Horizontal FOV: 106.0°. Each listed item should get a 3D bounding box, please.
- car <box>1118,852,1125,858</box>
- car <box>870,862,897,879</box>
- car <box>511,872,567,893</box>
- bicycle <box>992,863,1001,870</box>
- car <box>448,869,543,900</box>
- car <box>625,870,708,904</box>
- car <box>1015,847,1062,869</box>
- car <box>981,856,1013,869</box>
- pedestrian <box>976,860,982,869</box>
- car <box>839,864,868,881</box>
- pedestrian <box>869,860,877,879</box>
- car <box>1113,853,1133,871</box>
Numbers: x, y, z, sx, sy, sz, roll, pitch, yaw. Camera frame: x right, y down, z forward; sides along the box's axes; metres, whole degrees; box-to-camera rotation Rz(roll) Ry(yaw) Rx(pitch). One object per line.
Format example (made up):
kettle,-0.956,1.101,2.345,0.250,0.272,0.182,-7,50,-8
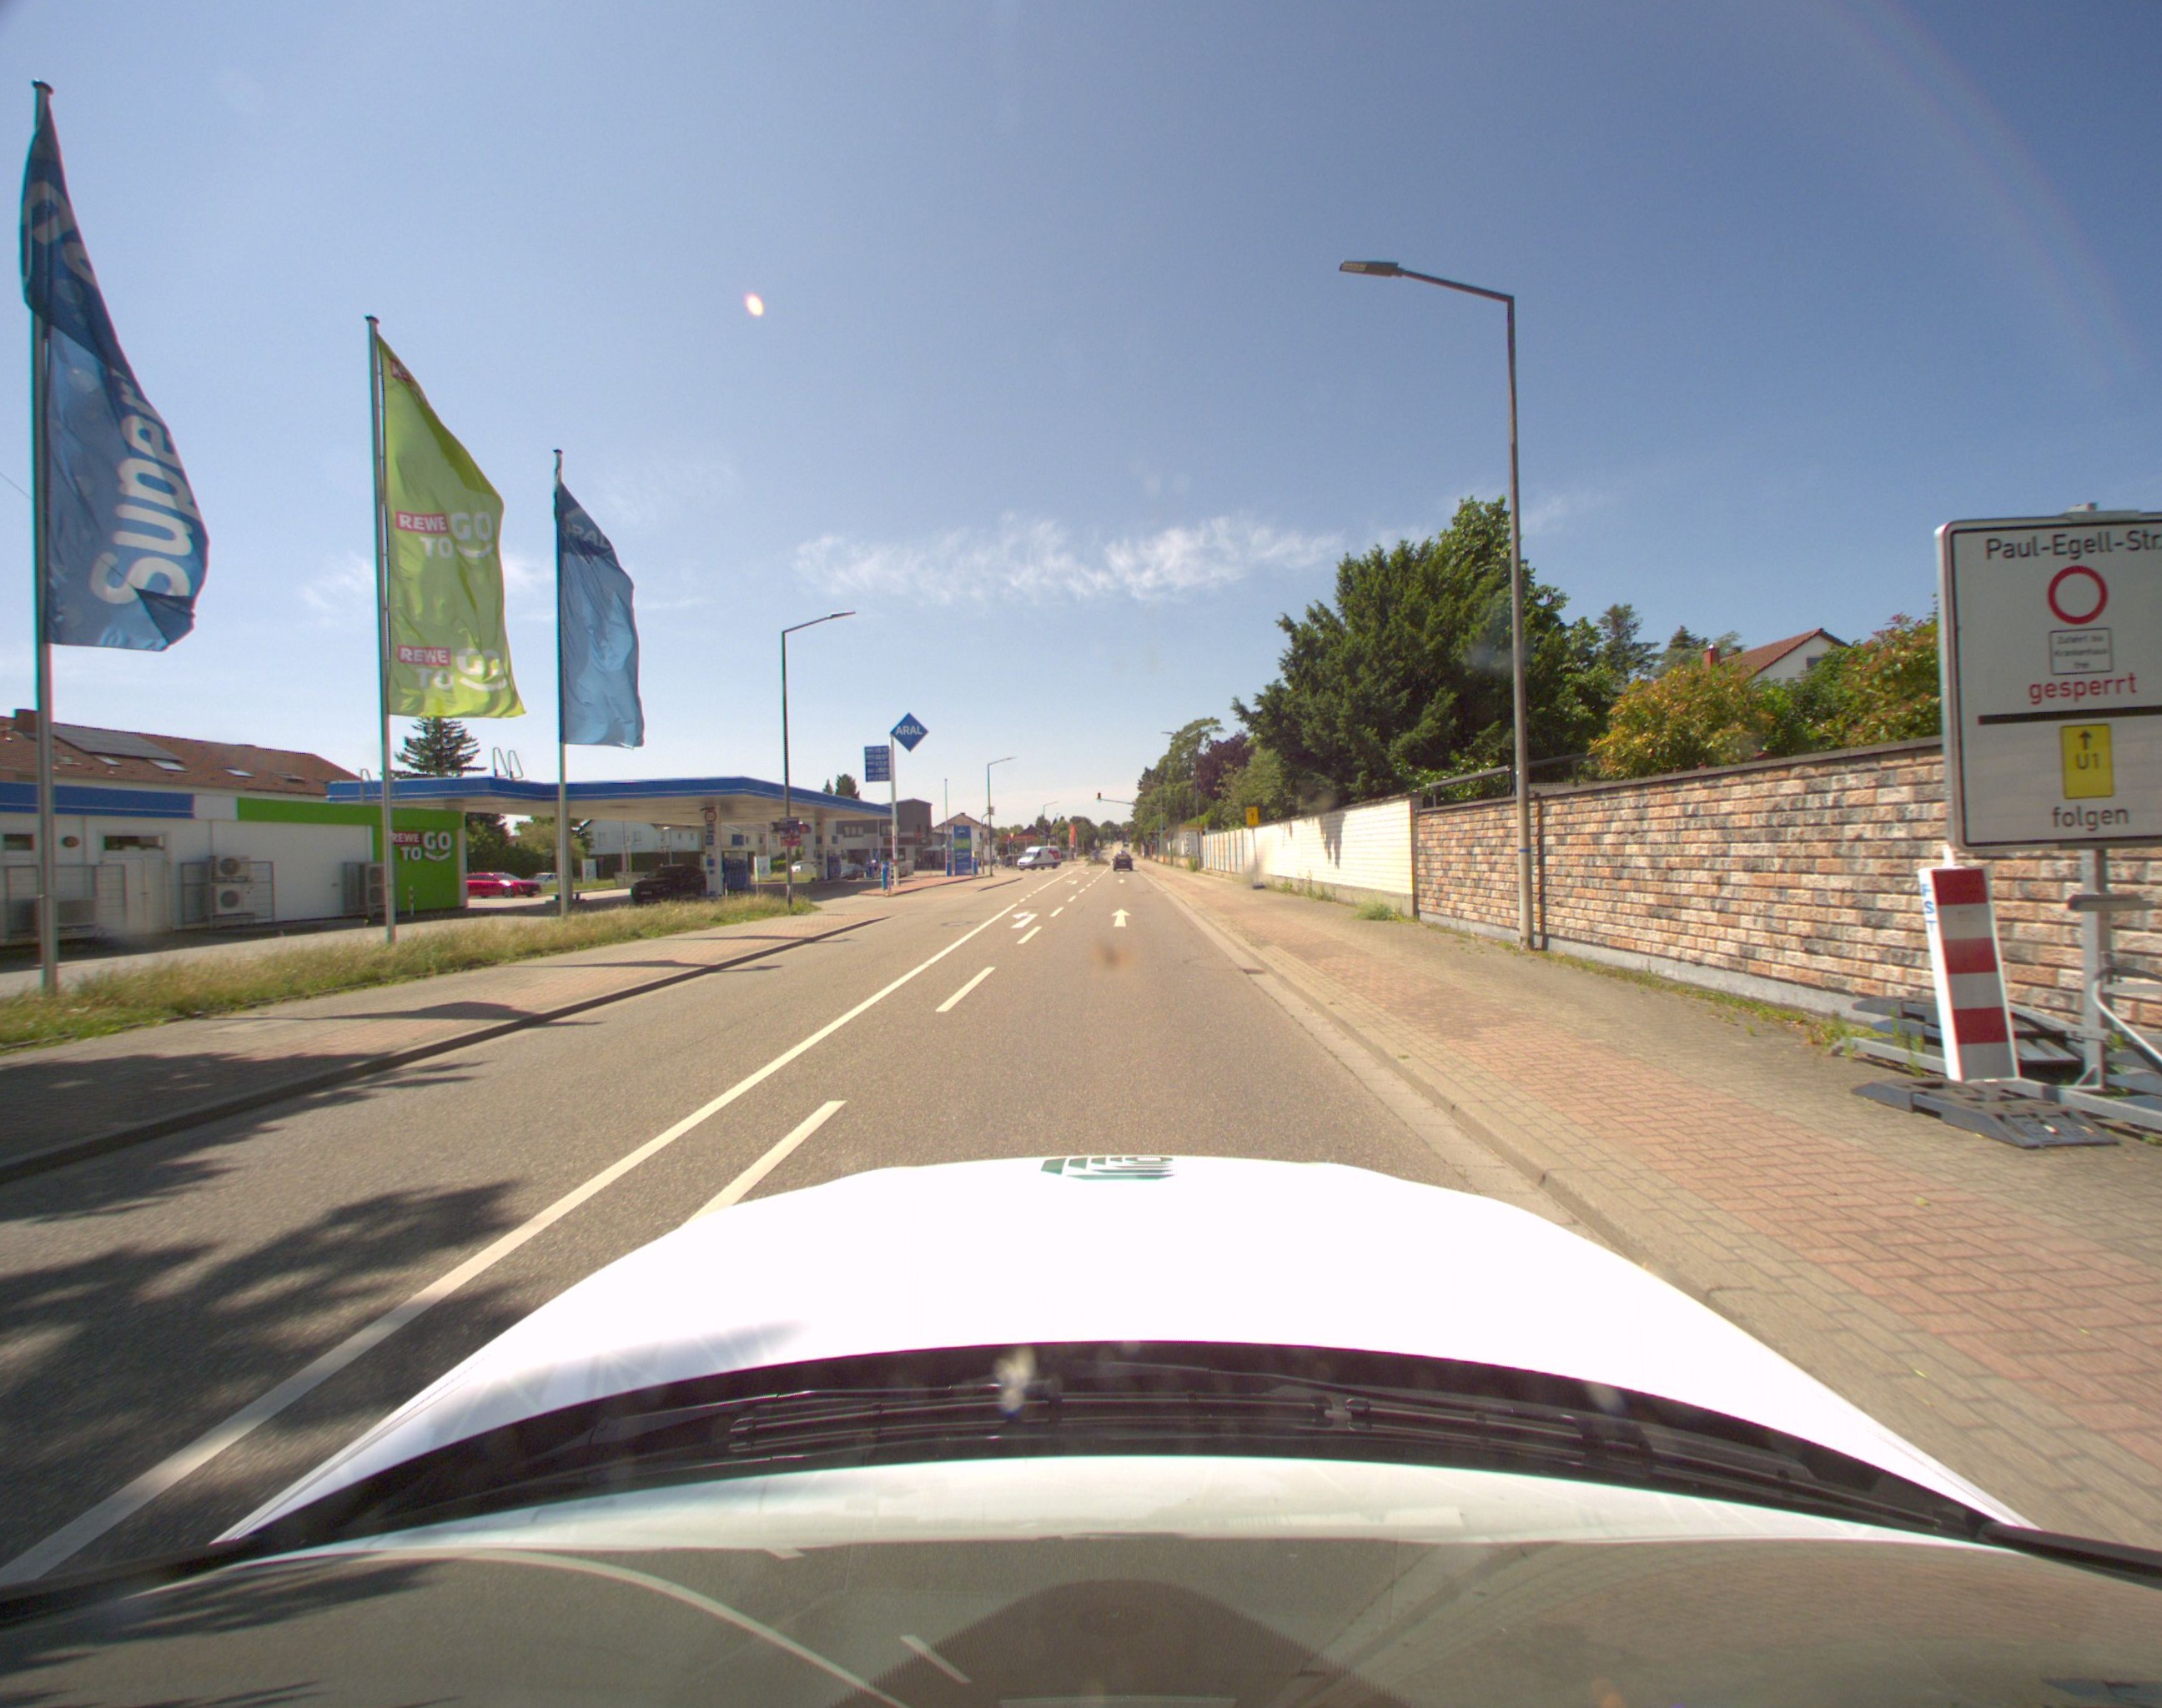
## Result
car,9.958,0.290,199.577,1.659,1.455,3.474,-2,0,2
car,-18.053,1.513,74.687,1.613,1.420,3.709,-3,0,-2
car,-44.409,2.296,66.794,1.662,1.480,4.006,-2,0,5
bicycle,-9.938,1.439,95.962,0.610,0.793,2.576,-2,0,3
car,-32.969,1.713,45.908,3.981,1.536,1.672,-2,0,-6
car,-19.532,1.520,38.558,1.663,1.381,4.003,-2,0,3
car,-4.739,0.459,91.911,1.974,2.423,5.985,-1,-2,37
car,-10.784,1.121,104.934,3.975,1.508,1.554,-2,0,-1
pedestrian,-14.889,1.559,118.807,0.606,1.260,0.760,-2,0,29
car,-20.742,1.677,74.309,1.613,1.420,3.709,-3,0,-2
pedestrian,-19.353,1.431,75.815,0.613,1.691,0.703,-2,0,-24
car,3.681,0.685,70.890,1.659,1.455,3.474,-2,0,2
